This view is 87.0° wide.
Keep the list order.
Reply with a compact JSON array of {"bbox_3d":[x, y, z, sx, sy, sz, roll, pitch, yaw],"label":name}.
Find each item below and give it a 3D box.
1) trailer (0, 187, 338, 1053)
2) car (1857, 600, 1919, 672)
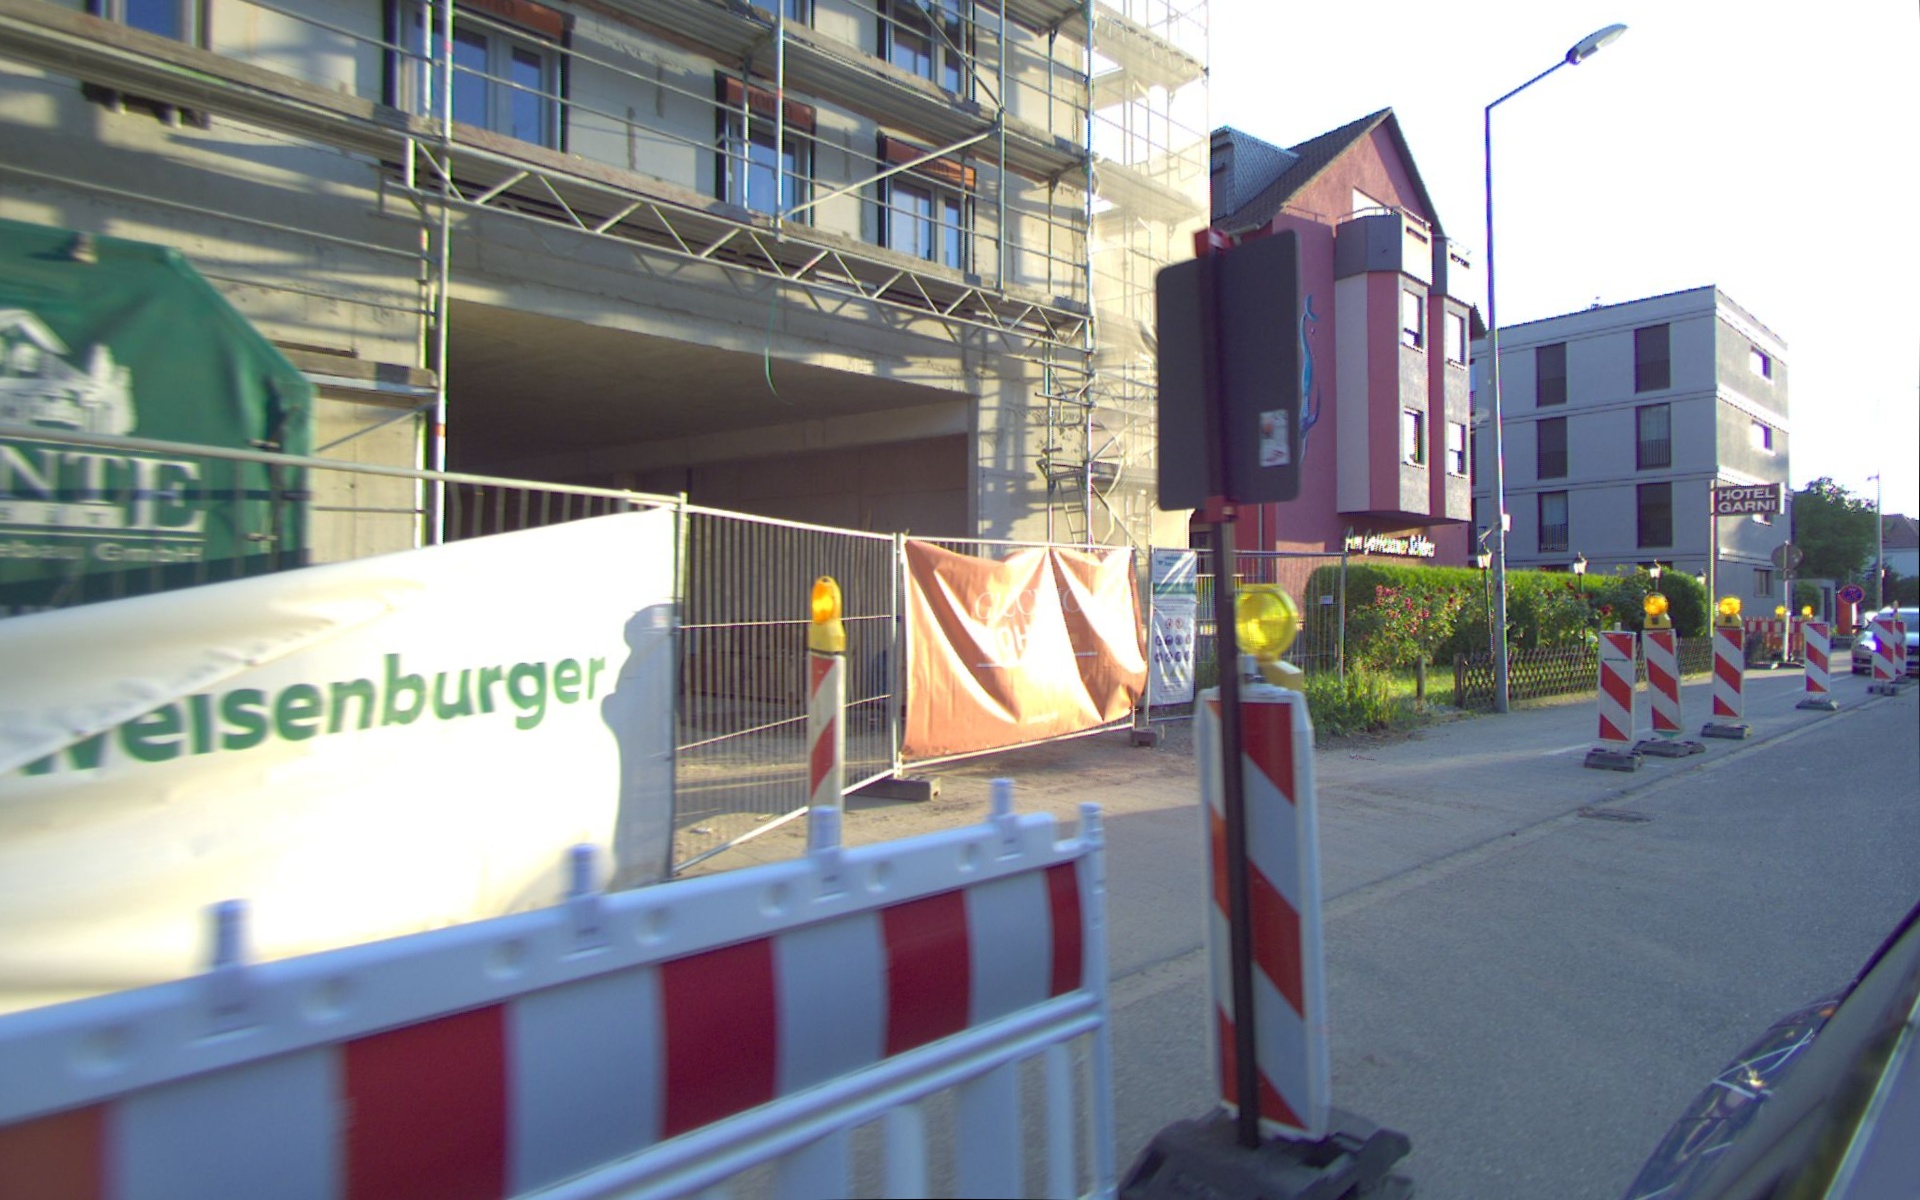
[{"bbox_3d":[-4.400,0.057,3.021,4.111,2.572,1.998,0,-1,-39],"label":"trailer"},{"bbox_3d":[20.582,0.716,21.470,4.035,1.414,1.779,0,-1,-41],"label":"car"}]
